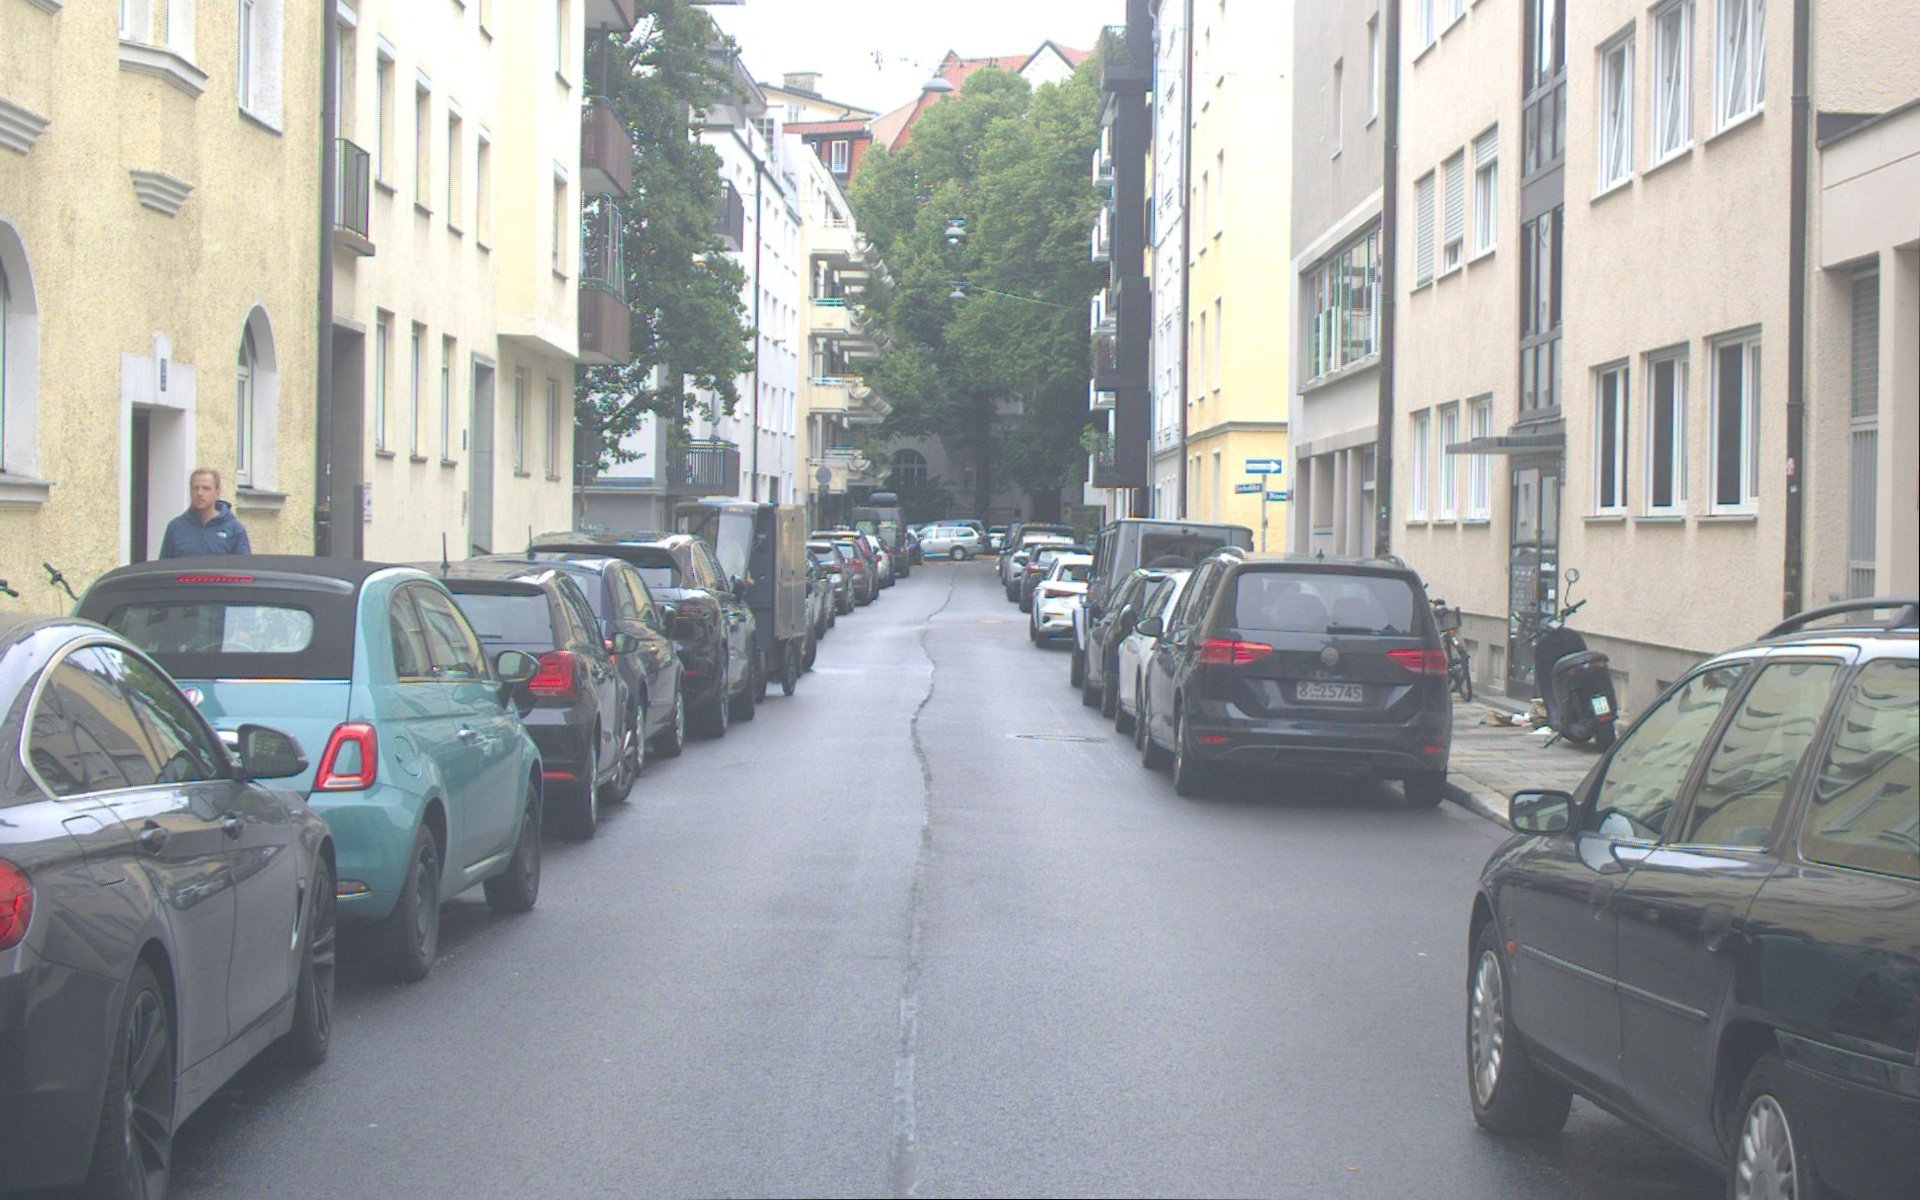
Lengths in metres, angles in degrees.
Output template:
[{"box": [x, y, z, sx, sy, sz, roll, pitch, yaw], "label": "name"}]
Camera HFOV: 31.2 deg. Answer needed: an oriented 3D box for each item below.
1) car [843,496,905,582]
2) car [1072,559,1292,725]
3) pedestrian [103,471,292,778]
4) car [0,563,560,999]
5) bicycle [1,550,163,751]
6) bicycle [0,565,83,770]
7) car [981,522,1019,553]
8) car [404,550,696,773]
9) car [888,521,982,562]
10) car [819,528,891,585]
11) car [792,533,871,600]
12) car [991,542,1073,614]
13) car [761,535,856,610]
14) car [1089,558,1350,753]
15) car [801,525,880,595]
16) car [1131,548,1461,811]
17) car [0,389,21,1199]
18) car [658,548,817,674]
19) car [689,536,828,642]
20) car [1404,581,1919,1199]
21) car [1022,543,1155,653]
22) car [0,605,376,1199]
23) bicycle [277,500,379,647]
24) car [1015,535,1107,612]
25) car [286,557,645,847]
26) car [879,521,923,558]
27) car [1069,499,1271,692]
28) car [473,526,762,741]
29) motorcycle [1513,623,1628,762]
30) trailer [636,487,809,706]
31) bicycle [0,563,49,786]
[{"box": [-2.881, -2.070, 115.626, 1.936, 2.792, 4.533, -1, 1, 0], "label": "car"}, {"box": [2.152, 0.371, 34.400, 1.711, 1.481, 4.245, 2, 1, -2], "label": "car"}, {"box": [-4.542, 0.135, 20.549, 0.839, 1.758, 1.068, 2, 1, 0], "label": "pedestrian"}, {"box": [-2.588, 0.596, 13.399, 1.563, 1.455, 3.404, 0, 1, 2], "label": "car"}, {"box": [-5.662, 0.304, 22.250, 0.593, 1.229, 1.737, 2, 1, -1], "label": "bicycle"}, {"box": [-5.771, 0.384, 20.932, 0.439, 1.186, 1.633, 2, 1, -1], "label": "bicycle"}, {"box": [1.868, -2.959, 161.379, 1.642, 1.379, 3.746, -1, 1, 0], "label": "car"}, {"box": [-2.830, 0.379, 24.347, 1.563, 1.455, 3.475, 0, 1, 1], "label": "car"}, {"box": [-1.047, -2.455, 144.219, 3.885, 1.579, 1.648, -1, 1, -1], "label": "car"}, {"box": [-2.905, -1.240, 95.970, 1.777, 1.482, 4.519, -1, 1, 1], "label": "car"}, {"box": [-2.845, -0.763, 76.782, 1.693, 1.437, 3.978, 0, 1, -1], "label": "car"}, {"box": [1.734, -0.558, 84.189, 1.682, 1.562, 4.416, 4, 2, -2], "label": "car"}, {"box": [-3.025, -0.571, 69.114, 1.693, 1.437, 3.942, 0, 1, 1], "label": "car"}, {"box": [2.149, 0.419, 29.539, 1.711, 1.481, 4.245, 2, 1, -2], "label": "car"}, {"box": [-2.848, -0.981, 82.832, 1.776, 1.623, 4.415, 0, 1, 0], "label": "car"}, {"box": [2.238, 0.479, 23.943, 1.711, 1.602, 4.244, 2, 1, -1], "label": "car"}, {"box": [-2.519, 0.594, 3.649, 1.862, 1.764, 4.736, -1, 2, -2], "label": "car"}, {"box": [-2.642, 0.094, 41.451, 1.652, 1.431, 3.803, 0, 1, 0], "label": "car"}, {"box": [-3.023, -0.203, 52.286, 1.766, 1.478, 4.424, 0, 2, 1], "label": "car"}, {"box": [2.294, 0.744, 7.754, 1.716, 1.466, 4.532, 2, 1, -3], "label": "car"}, {"box": [1.983, -0.065, 54.080, 1.819, 1.403, 3.953, 2, 4, -1], "label": "car"}, {"box": [-2.690, 0.744, 8.608, 1.811, 1.381, 4.251, -1, 1, -1], "label": "car"}, {"box": [-5.765, -0.242, 31.419, 0.594, 1.274, 1.552, 4, 1, -1], "label": "bicycle"}, {"box": [2.146, -0.591, 74.045, 1.751, 1.464, 4.343, 4, 2, 0], "label": "car"}, {"box": [-2.687, 0.497, 19.379, 1.563, 1.455, 3.764, 0, 1, -1], "label": "car"}, {"box": [-2.303, -2.388, 134.161, 1.642, 1.379, 3.483, -1, 1, 0], "label": "car"}, {"box": [2.320, -0.113, 39.073, 1.750, 1.968, 4.343, 4, 2, -2], "label": "car"}, {"box": [-2.791, 0.226, 28.927, 1.879, 1.654, 4.414, 0, 1, 1], "label": "car"}, {"box": [4.675, 0.692, 26.409, 0.481, 0.964, 1.911, -3, 1, -1], "label": "motorcycle"}, {"box": [-2.391, -0.060, 35.234, 1.355, 2.108, 3.318, 1, 1, 3], "label": "trailer"}, {"box": [-5.612, 0.409, 19.180, 0.593, 1.229, 1.737, 2, 1, -1], "label": "bicycle"}]
